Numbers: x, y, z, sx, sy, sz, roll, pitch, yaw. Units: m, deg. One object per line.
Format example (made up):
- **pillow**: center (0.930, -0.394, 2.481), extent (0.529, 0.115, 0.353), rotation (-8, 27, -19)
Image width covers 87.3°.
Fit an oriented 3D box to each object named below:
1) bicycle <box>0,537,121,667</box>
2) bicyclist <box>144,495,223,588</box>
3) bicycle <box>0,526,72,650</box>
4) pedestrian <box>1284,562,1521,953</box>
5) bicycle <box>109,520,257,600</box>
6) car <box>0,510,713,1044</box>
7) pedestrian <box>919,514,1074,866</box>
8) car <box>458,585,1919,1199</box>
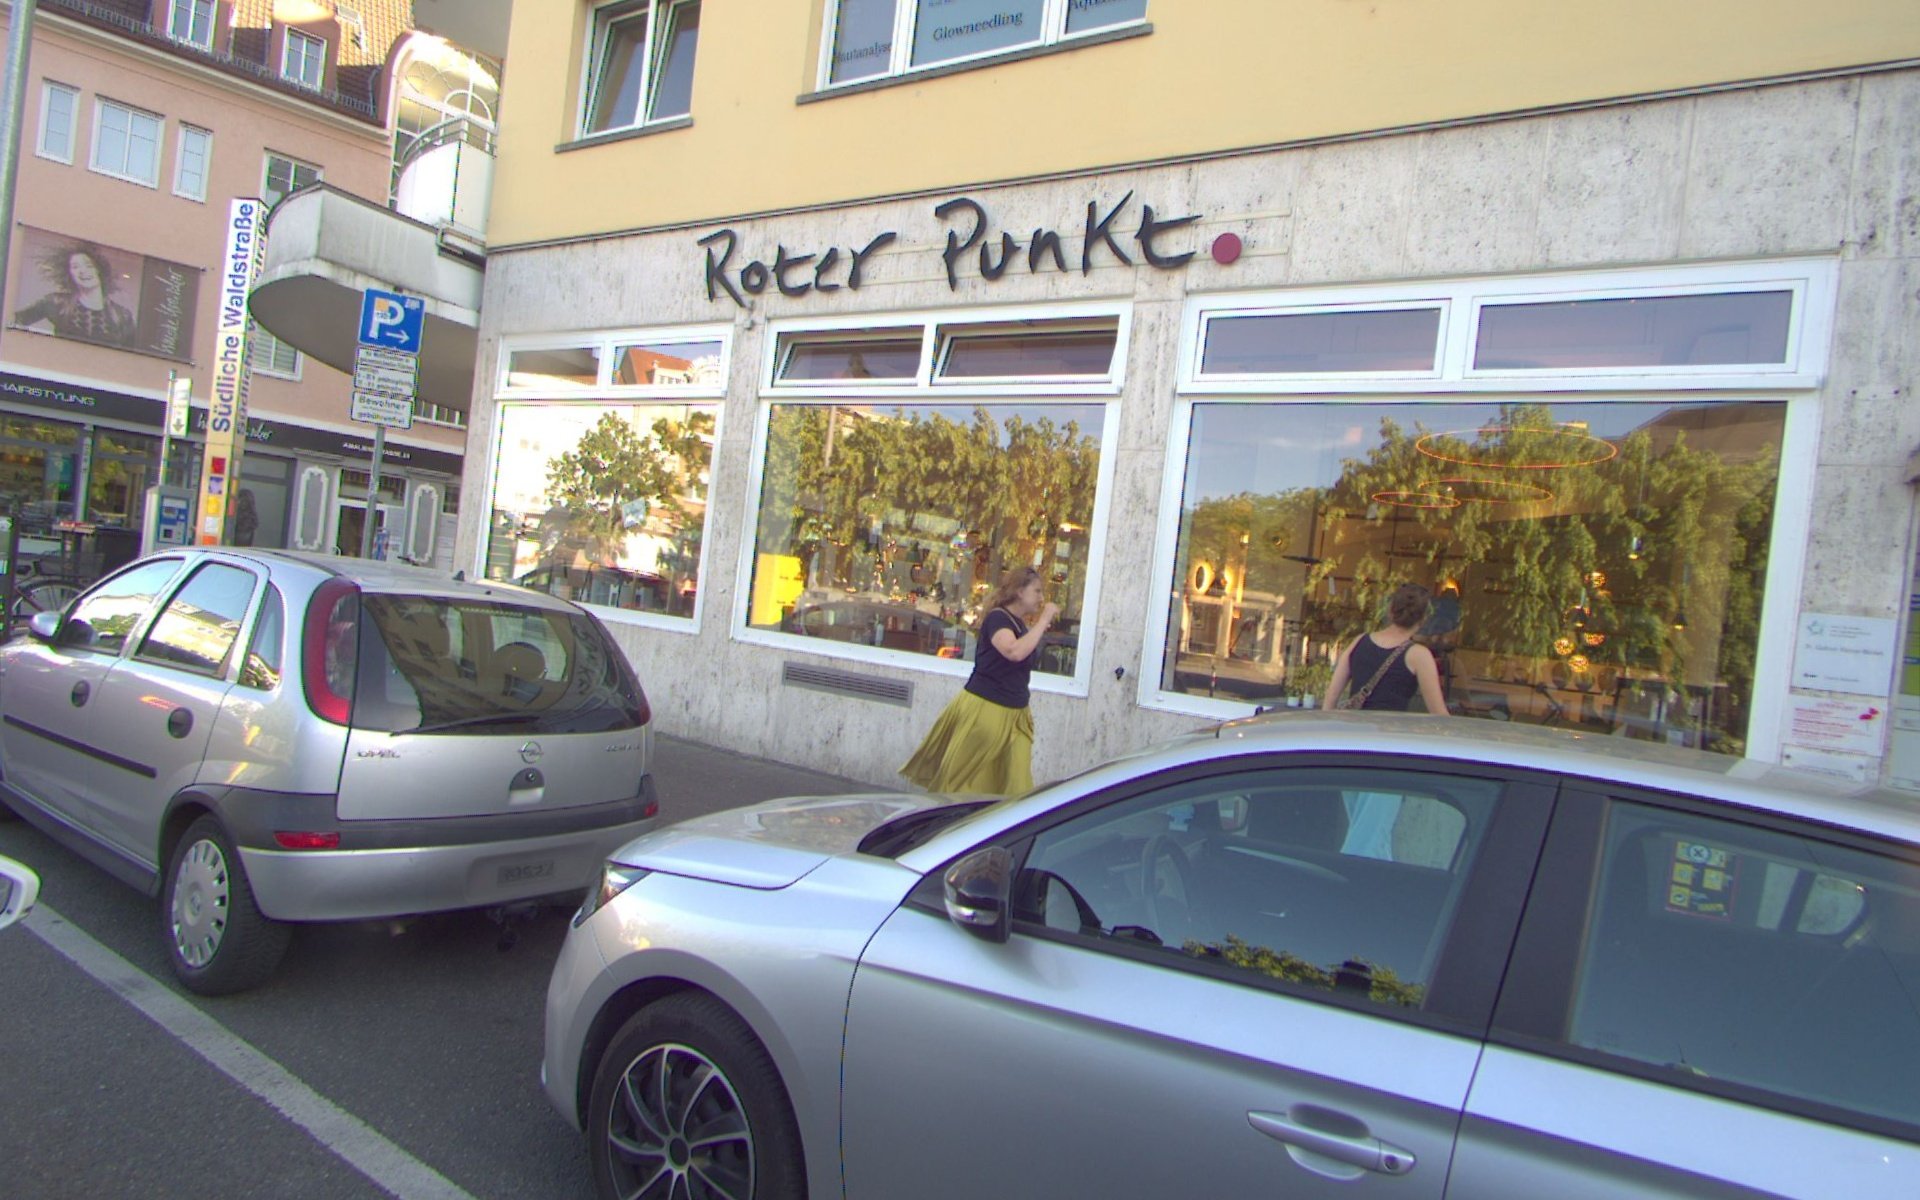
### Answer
- **bicycle**: center (-8.115, -0.003, 8.207), extent (0.348, 1.051, 1.871), rotation (6, 1, 38)
- **bicyclist**: center (-13.743, -1.026, 17.803), extent (0.692, 1.500, 0.889), rotation (6, -1, 44)
- **bicycle**: center (-9.097, -0.151, 8.821), extent (0.408, 1.101, 1.872), rotation (6, 1, 35)
- **pedestrian**: center (2.118, 0.711, 4.825), extent (0.642, 1.685, 0.652), rotation (7, 0, -39)
- **bicycle**: center (-13.741, -0.694, 17.834), extent (0.700, 1.131, 1.930), rotation (6, -1, 44)
- **car**: center (-2.941, 0.476, 4.439), extent (3.420, 1.407, 1.548), rotation (6, -1, 33)
- **pedestrian**: center (0.230, 0.485, 5.706), extent (0.557, 1.805, 0.743), rotation (7, 0, 11)
- **car**: center (0.757, 0.920, 2.266), extent (3.598, 1.444, 1.550), rotation (6, -1, 30)
